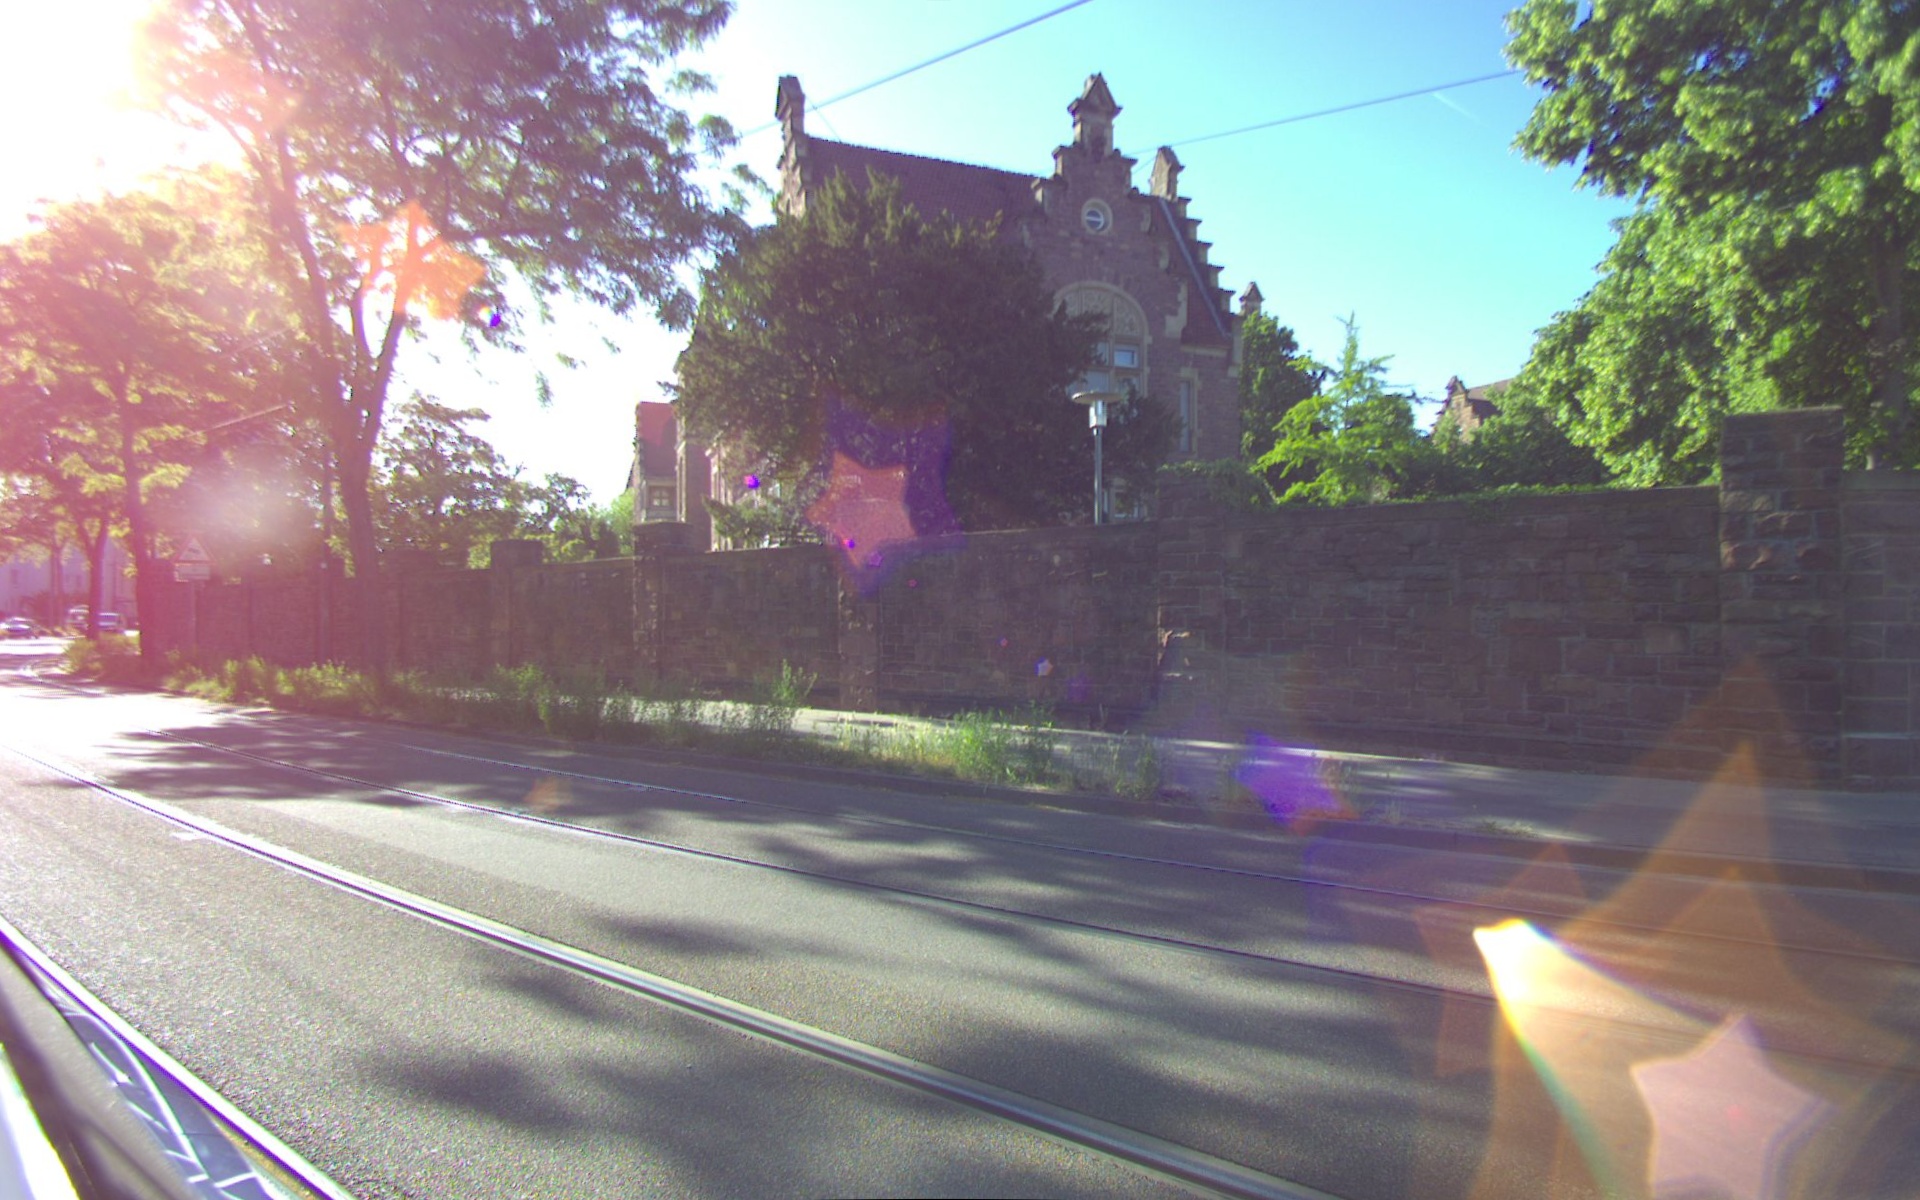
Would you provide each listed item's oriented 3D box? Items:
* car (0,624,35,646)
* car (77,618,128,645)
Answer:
[{"bbox_3d":[-68.893,2.515,73.842,1.969,1.560,4.005,0,-1,-41],"label":"car"},{"bbox_3d":[-61.526,2.220,72.718,1.846,1.830,4.982,0,-1,-29],"label":"car"}]
